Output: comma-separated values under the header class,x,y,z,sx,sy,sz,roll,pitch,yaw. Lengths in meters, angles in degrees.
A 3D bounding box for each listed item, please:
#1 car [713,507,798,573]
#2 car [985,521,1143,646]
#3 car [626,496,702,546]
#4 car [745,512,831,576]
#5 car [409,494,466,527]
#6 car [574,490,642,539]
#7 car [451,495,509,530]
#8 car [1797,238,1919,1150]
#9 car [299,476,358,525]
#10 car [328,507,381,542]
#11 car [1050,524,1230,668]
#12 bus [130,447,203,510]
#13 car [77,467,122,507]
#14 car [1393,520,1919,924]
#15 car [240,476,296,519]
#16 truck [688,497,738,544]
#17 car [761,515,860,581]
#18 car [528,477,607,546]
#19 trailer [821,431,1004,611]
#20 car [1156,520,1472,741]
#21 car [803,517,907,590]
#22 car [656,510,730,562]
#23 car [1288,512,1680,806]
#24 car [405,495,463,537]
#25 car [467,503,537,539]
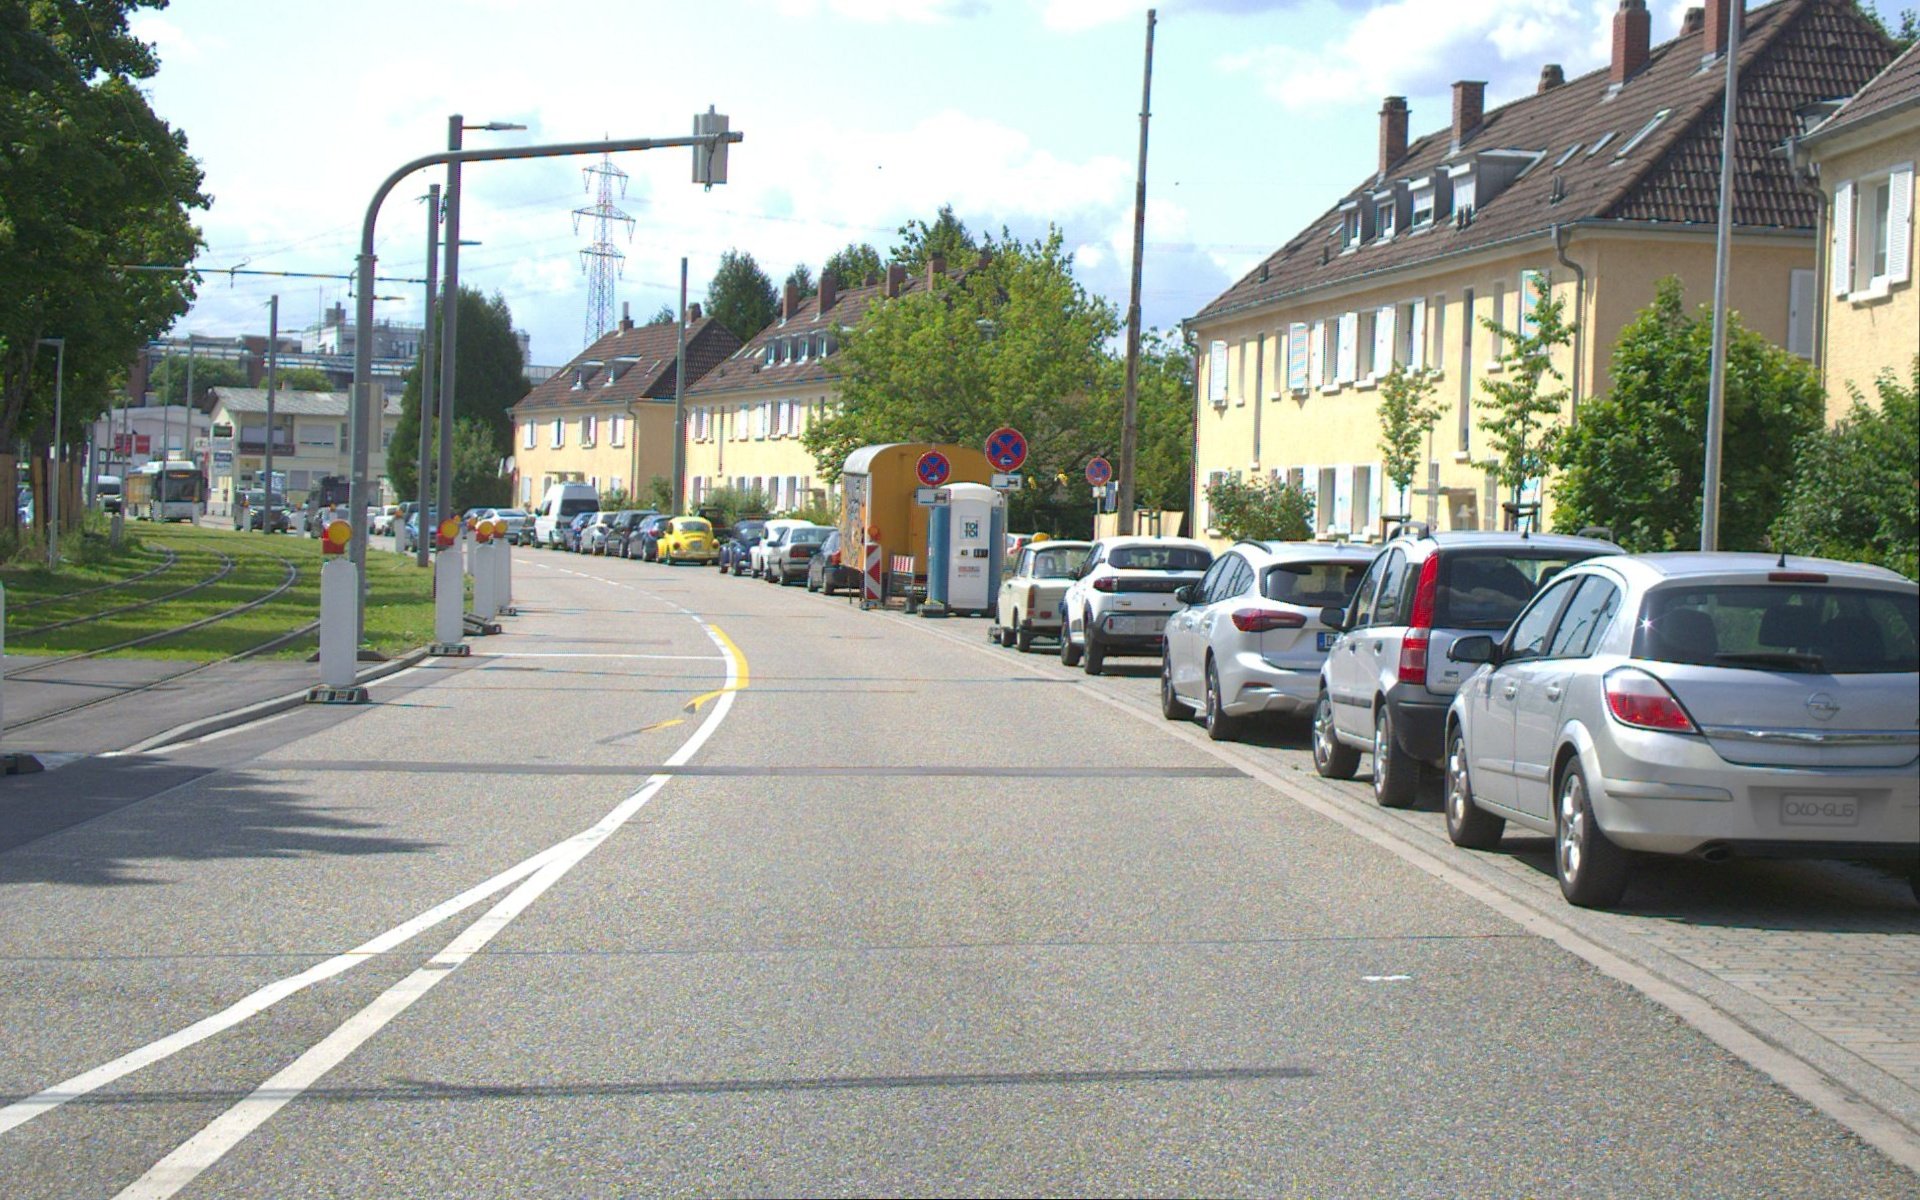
class,x,y,z,sx,sy,sz,roll,pitch,yaw
car,-5.504,-1.629,92.124,1.548,1.635,4.248,2,1,-13
car,1.290,-0.252,44.255,1.463,1.497,4.110,1,1,-6
car,-9.422,-2.529,109.284,1.635,1.477,4.126,2,1,-15
car,-4.390,-1.446,87.103,1.577,1.507,4.461,2,1,-10
car,-23.451,-4.018,154.104,1.763,1.412,4.001,0,2,-20
car,-12.150,-2.953,118.422,1.635,1.597,4.031,2,1,-15
car,-20.357,-3.711,145.725,1.620,1.412,4.001,0,2,-20
car,3.403,0.288,6.179,2.276,2.175,6.368,2,1,1
car,-33.048,-5.221,179.890,1.959,2.470,6.062,0,2,-21
car,-25.132,-3.141,142.615,1.724,1.384,4.123,2,1,-16
car,1.934,-0.083,37.932,1.527,1.476,3.810,1,1,-4
bus,-45.108,-6.904,195.189,2.635,3.400,12.253,0,2,-20
car,-55.271,-7.279,220.782,2.102,2.435,5.573,2,1,-20
car,3.167,0.424,15.220,1.707,1.499,4.256,2,1,-3
car,-32.732,-4.853,162.517,1.955,1.959,5.295,1,2,-18
truck,-9.162,-2.956,127.370,1.346,1.682,2.442,2,1,-16
car,-3.601,-1.259,82.068,1.706,1.444,4.837,2,1,-10
car,-14.669,-3.332,128.340,1.928,2.472,5.520,1,2,-17
trailer,-0.973,-1.527,65.896,2.689,3.215,5.083,2,1,-9
car,2.583,0.165,26.053,1.749,1.492,4.386,1,1,-2
car,-2.298,-1.034,74.290,1.577,1.444,4.455,2,1,-10
car,-8.122,-1.956,104.245,1.636,1.477,3.933,-1,3,-13
car,2.998,0.279,20.381,1.628,1.544,3.810,1,1,-1
car,-18.423,-2.948,120.330,1.665,1.444,3.961,-1,2,-14
car,-18.751,-3.247,140.648,1.798,1.453,4.767,0,1,-21
